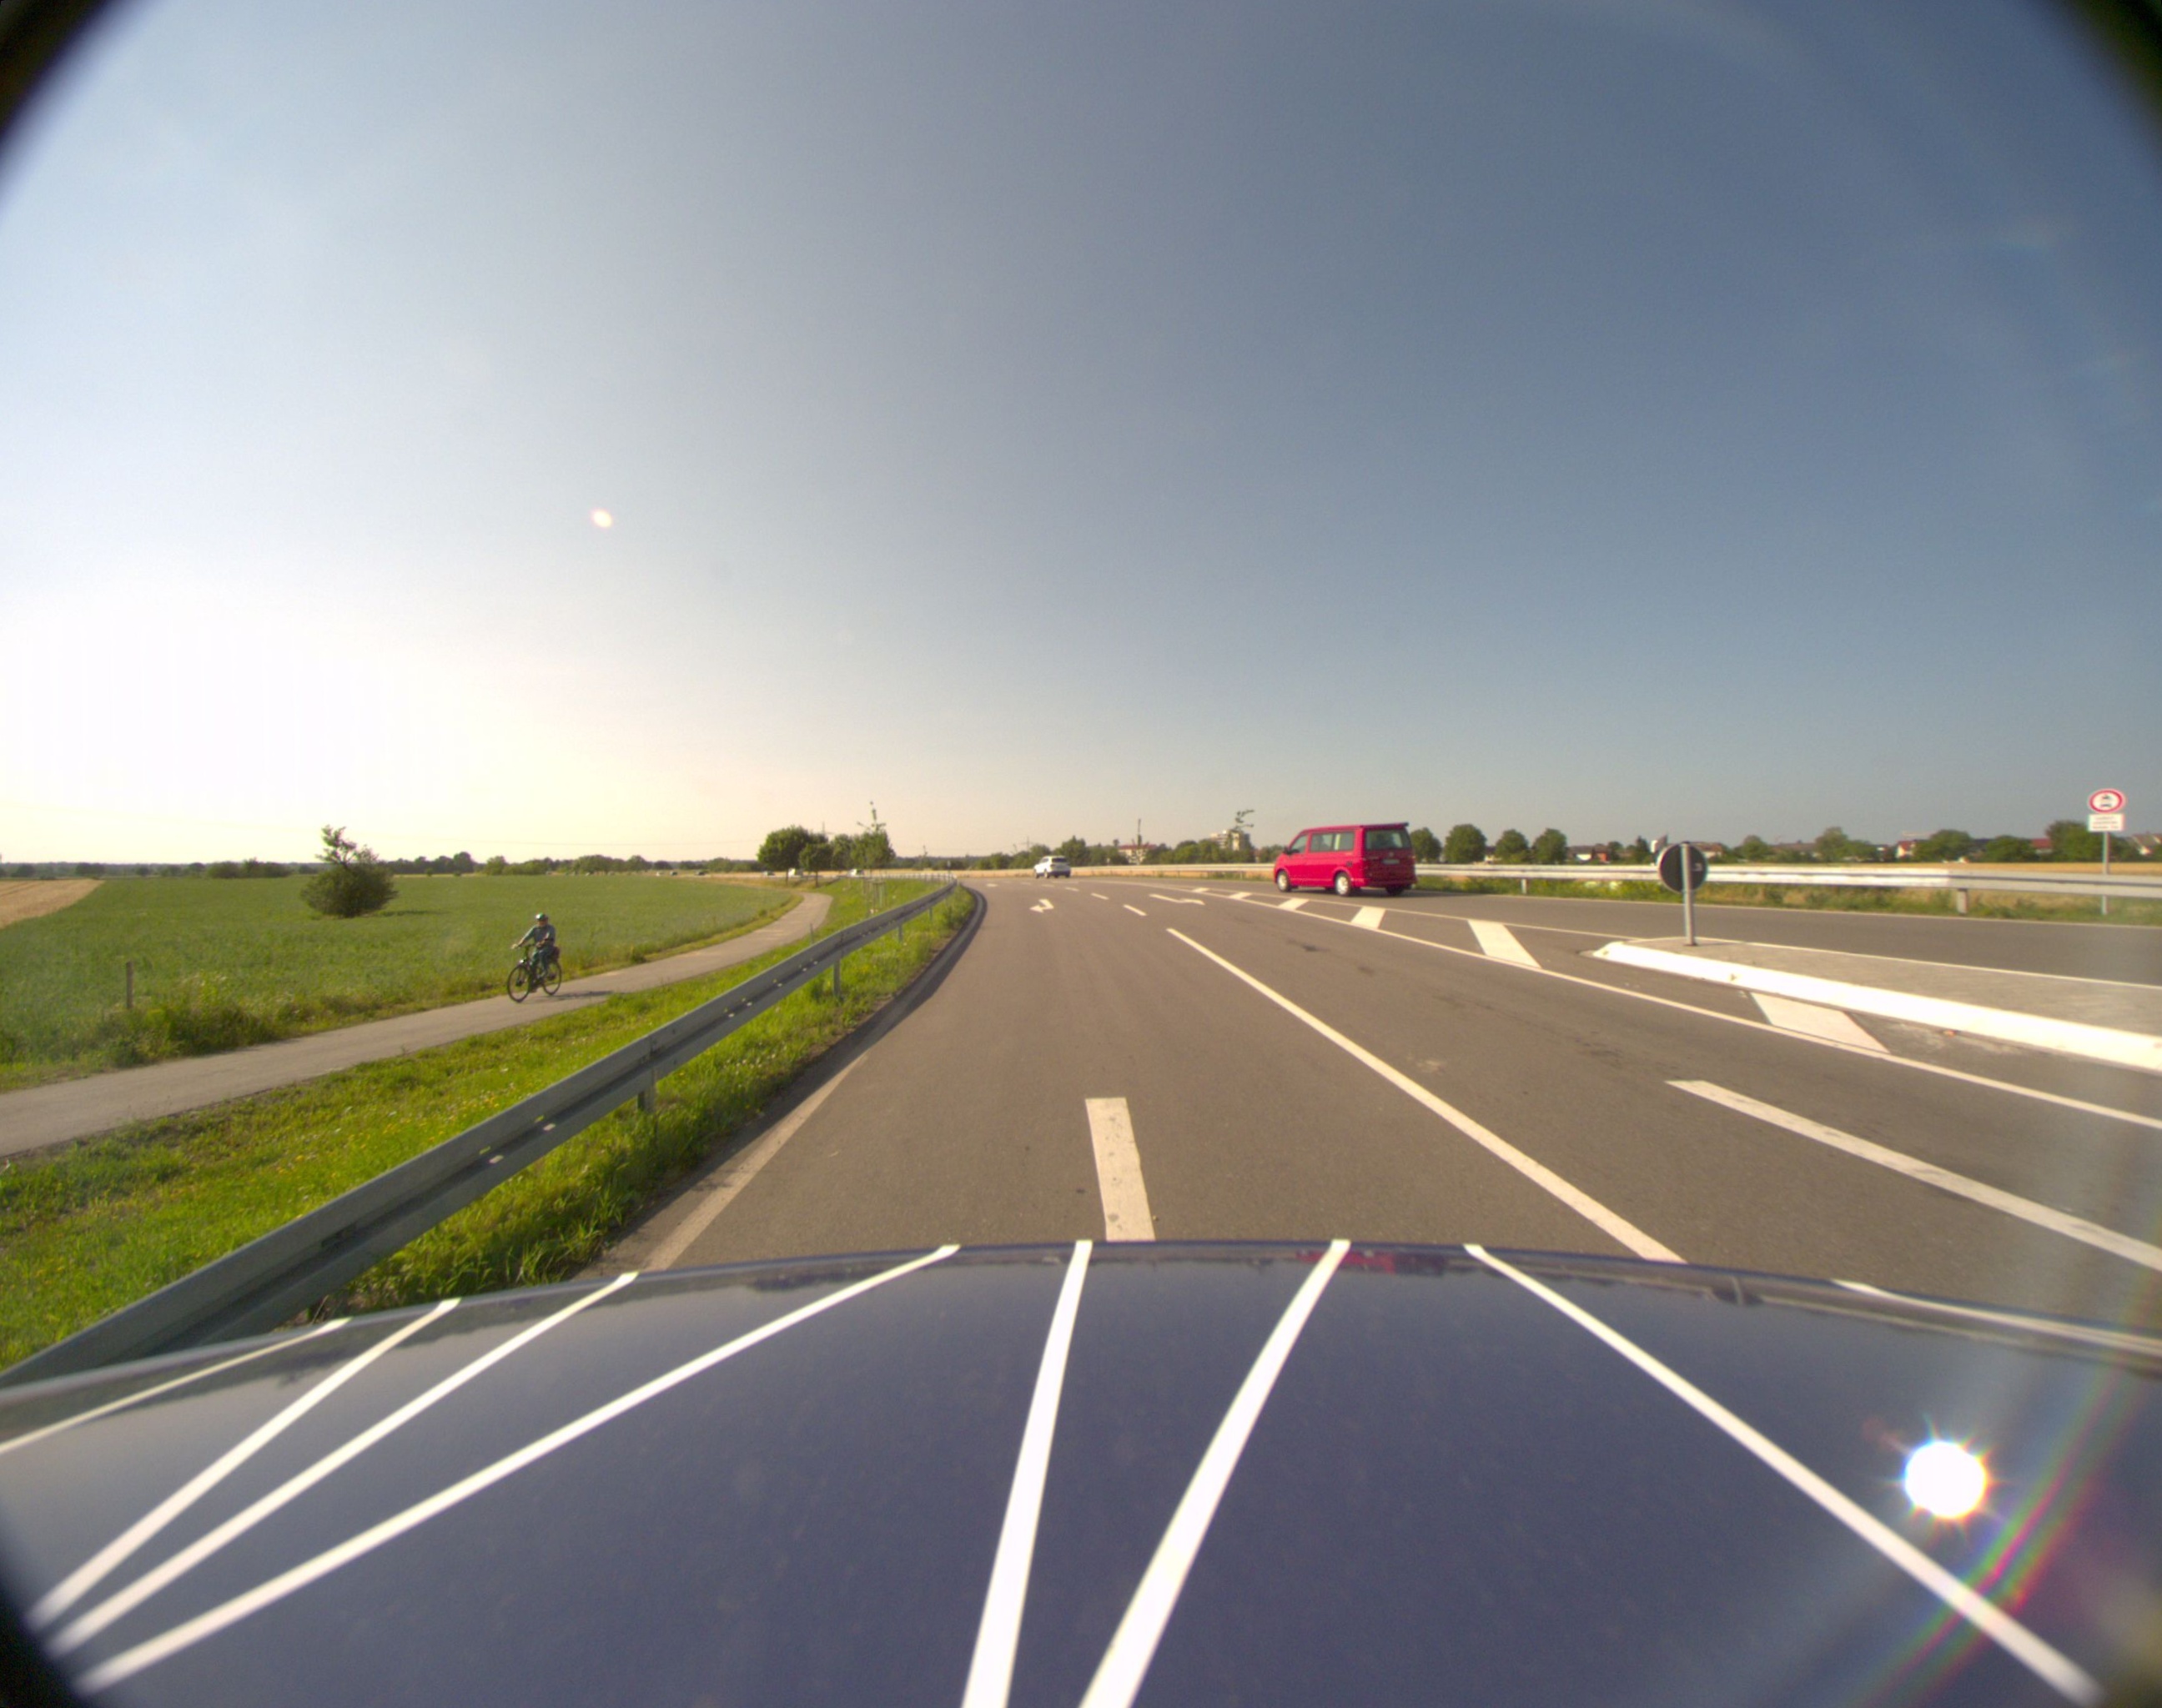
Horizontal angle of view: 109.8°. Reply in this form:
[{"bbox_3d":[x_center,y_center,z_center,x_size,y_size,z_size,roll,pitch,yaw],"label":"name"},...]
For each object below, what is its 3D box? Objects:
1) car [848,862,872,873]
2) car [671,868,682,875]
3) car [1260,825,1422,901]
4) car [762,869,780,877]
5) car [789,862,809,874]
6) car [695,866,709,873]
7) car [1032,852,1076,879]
[{"bbox_3d":[-36.184,2.276,124.322,2.125,1.484,5.142,-2,-2,-35],"label":"car"},{"bbox_3d":[-116.419,5.039,218.744,1.892,1.788,5.077,-4,3,-39],"label":"car"},{"bbox_3d":[7.452,0.248,22.395,1.840,1.929,4.918,-3,0,-18],"label":"car"},{"bbox_3d":[-64.962,3.909,159.180,1.804,1.439,4.694,-2,-3,-43],"label":"car"},{"bbox_3d":[-55.227,2.810,148.748,2.126,2.001,5.142,-2,-2,-38],"label":"car"},{"bbox_3d":[-98.056,4.077,196.651,2.004,1.583,4.850,-2,-1,-43],"label":"car"},{"bbox_3d":[-2.096,0.821,57.411,1.699,1.664,4.852,-2,3,-22],"label":"car"}]
